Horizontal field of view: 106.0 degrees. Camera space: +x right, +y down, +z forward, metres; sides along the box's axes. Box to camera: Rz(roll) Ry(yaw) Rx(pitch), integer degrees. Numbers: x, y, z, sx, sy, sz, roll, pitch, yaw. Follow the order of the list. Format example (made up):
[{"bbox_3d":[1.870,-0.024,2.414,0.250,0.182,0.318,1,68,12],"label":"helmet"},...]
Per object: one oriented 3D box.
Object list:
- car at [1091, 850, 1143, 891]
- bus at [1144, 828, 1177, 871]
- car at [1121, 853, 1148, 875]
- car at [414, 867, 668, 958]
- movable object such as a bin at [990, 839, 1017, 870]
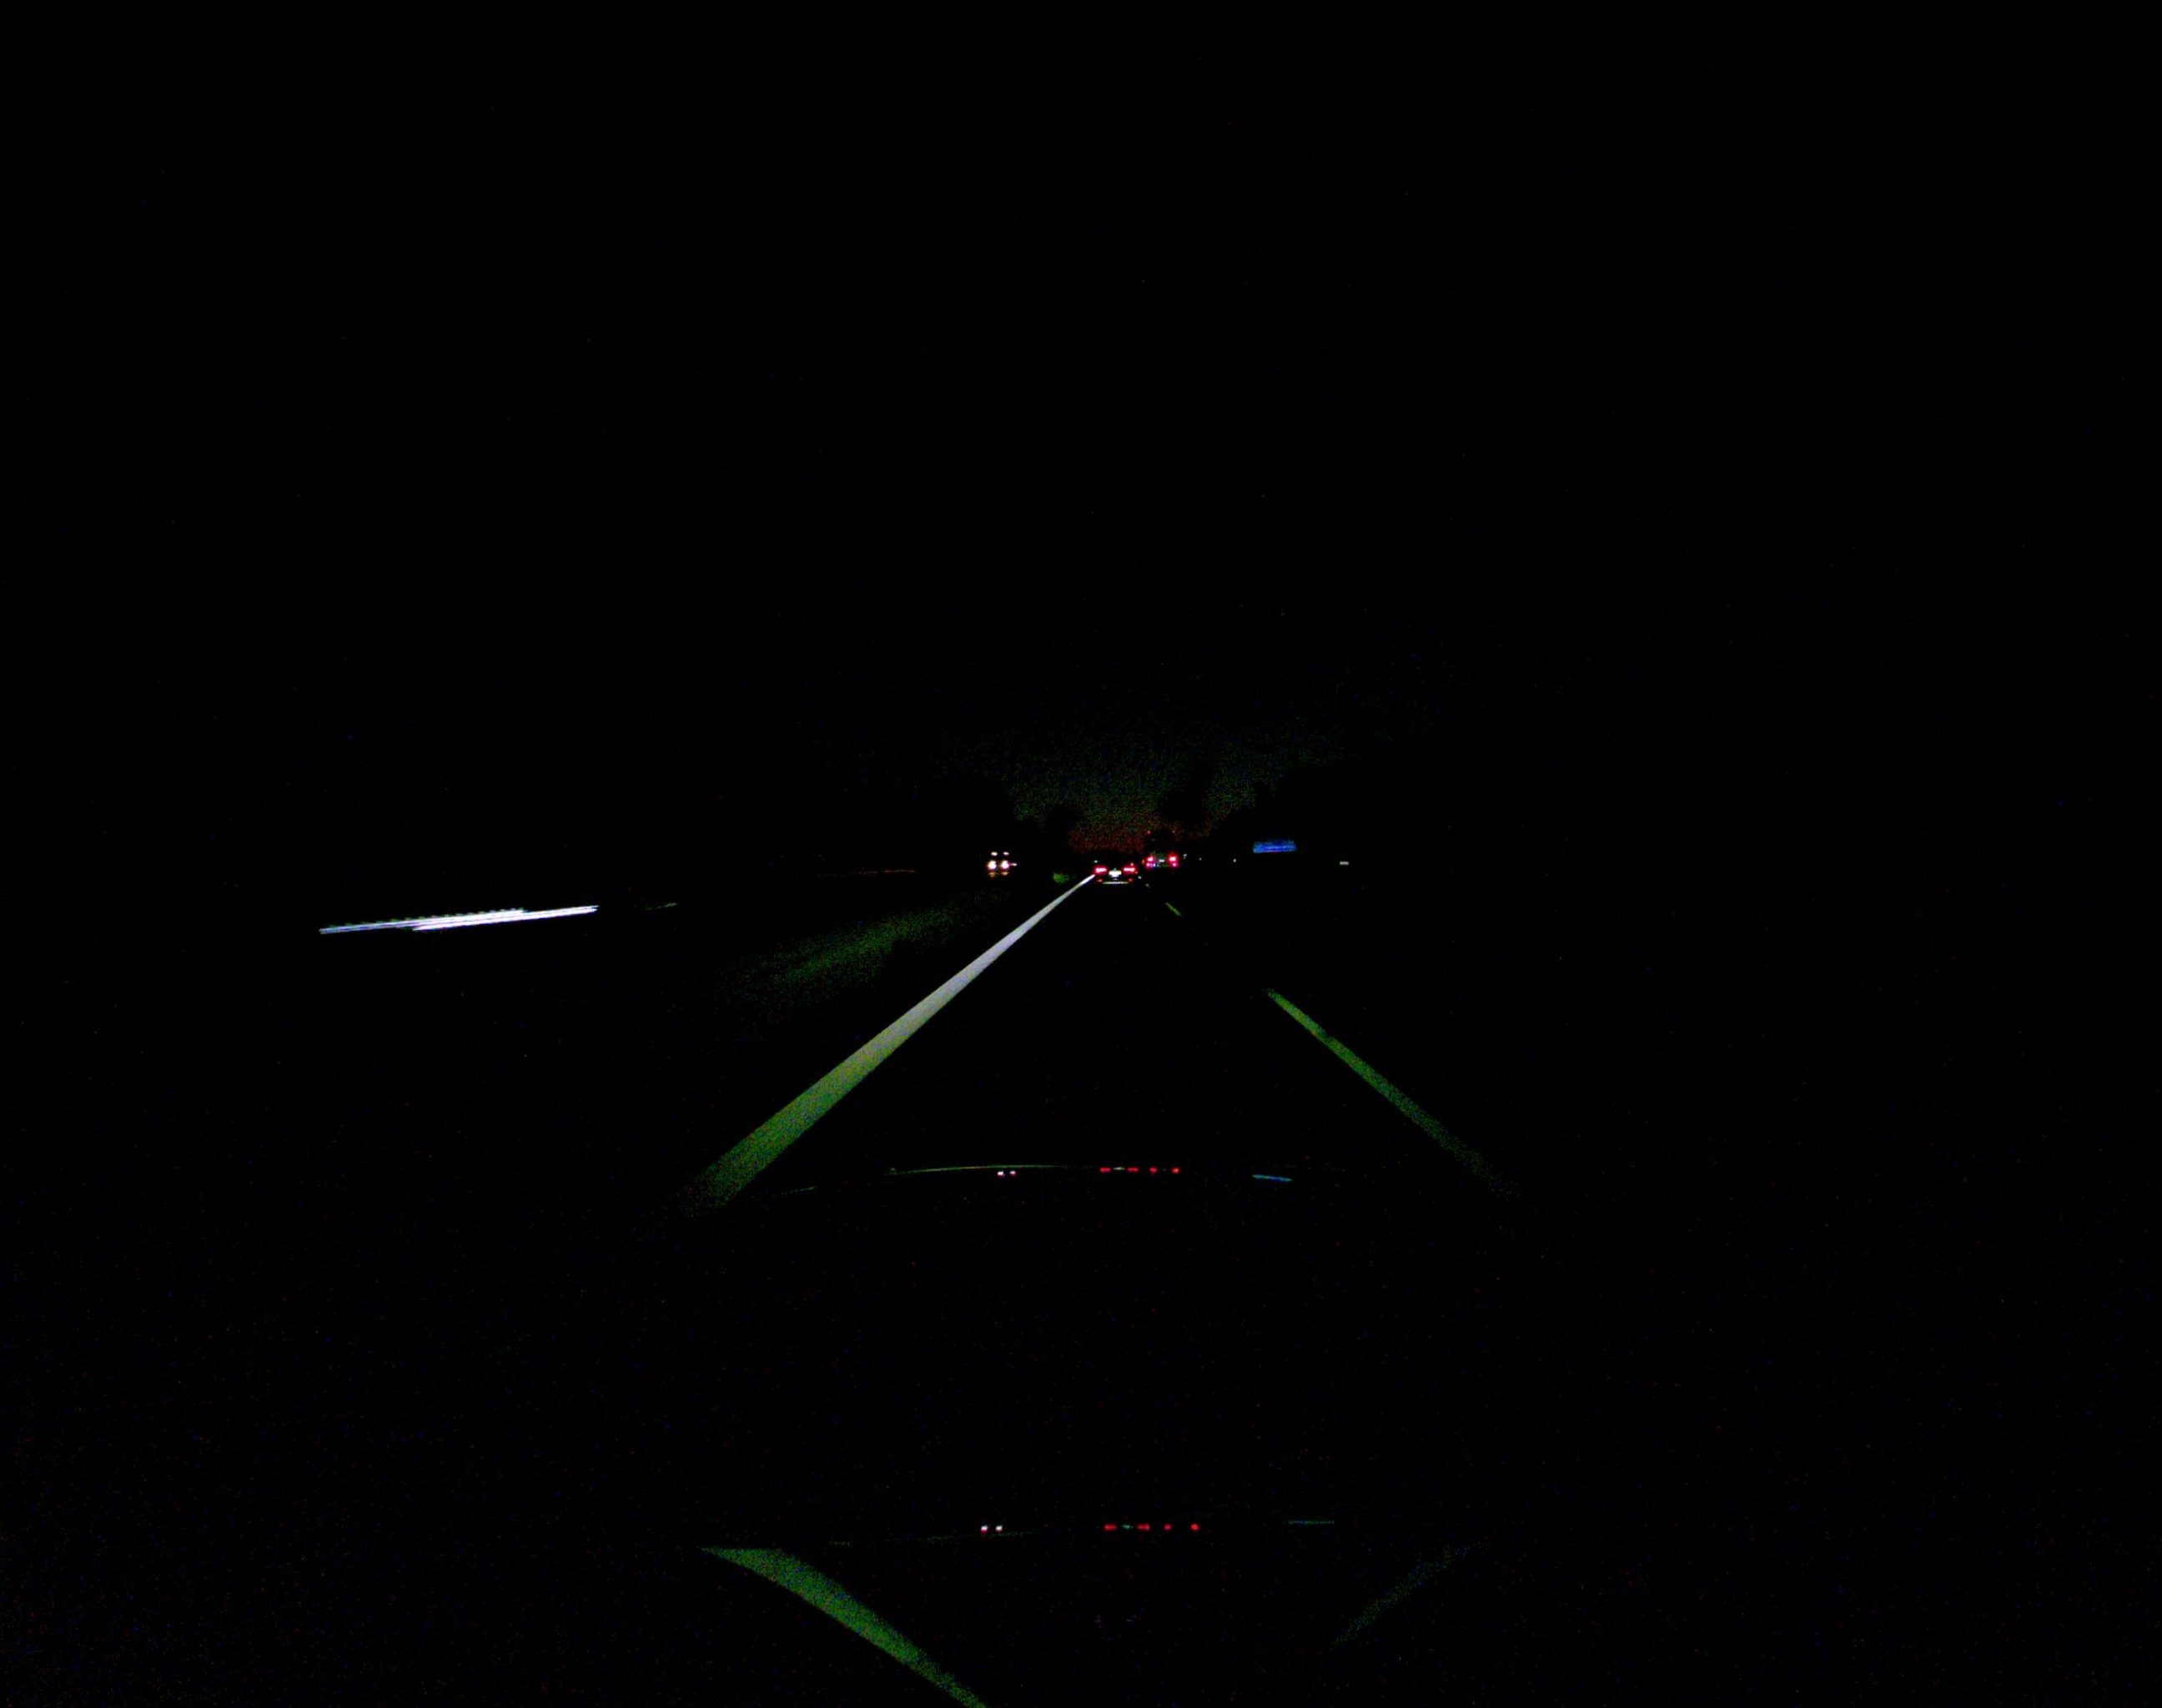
[{"bbox_3d":[1.558,0.765,36.311,2.098,1.618,4.205,-3,-2,1],"label":"car"},{"bbox_3d":[8.186,-0.265,84.915,2.641,3.994,14.713,-3,-1,3],"label":"bus"},{"bbox_3d":[4.344,0.848,66.337,1.905,1.730,4.000,2,-1,1],"label":"car"},{"bbox_3d":[-10.267,1.026,16.011,1.926,1.453,4.454,-1,0,1],"label":"car"},{"bbox_3d":[-10.032,0.097,105.563,2.284,3.769,7.692,-1,0,3],"label":"movable object such as a bin"}]
